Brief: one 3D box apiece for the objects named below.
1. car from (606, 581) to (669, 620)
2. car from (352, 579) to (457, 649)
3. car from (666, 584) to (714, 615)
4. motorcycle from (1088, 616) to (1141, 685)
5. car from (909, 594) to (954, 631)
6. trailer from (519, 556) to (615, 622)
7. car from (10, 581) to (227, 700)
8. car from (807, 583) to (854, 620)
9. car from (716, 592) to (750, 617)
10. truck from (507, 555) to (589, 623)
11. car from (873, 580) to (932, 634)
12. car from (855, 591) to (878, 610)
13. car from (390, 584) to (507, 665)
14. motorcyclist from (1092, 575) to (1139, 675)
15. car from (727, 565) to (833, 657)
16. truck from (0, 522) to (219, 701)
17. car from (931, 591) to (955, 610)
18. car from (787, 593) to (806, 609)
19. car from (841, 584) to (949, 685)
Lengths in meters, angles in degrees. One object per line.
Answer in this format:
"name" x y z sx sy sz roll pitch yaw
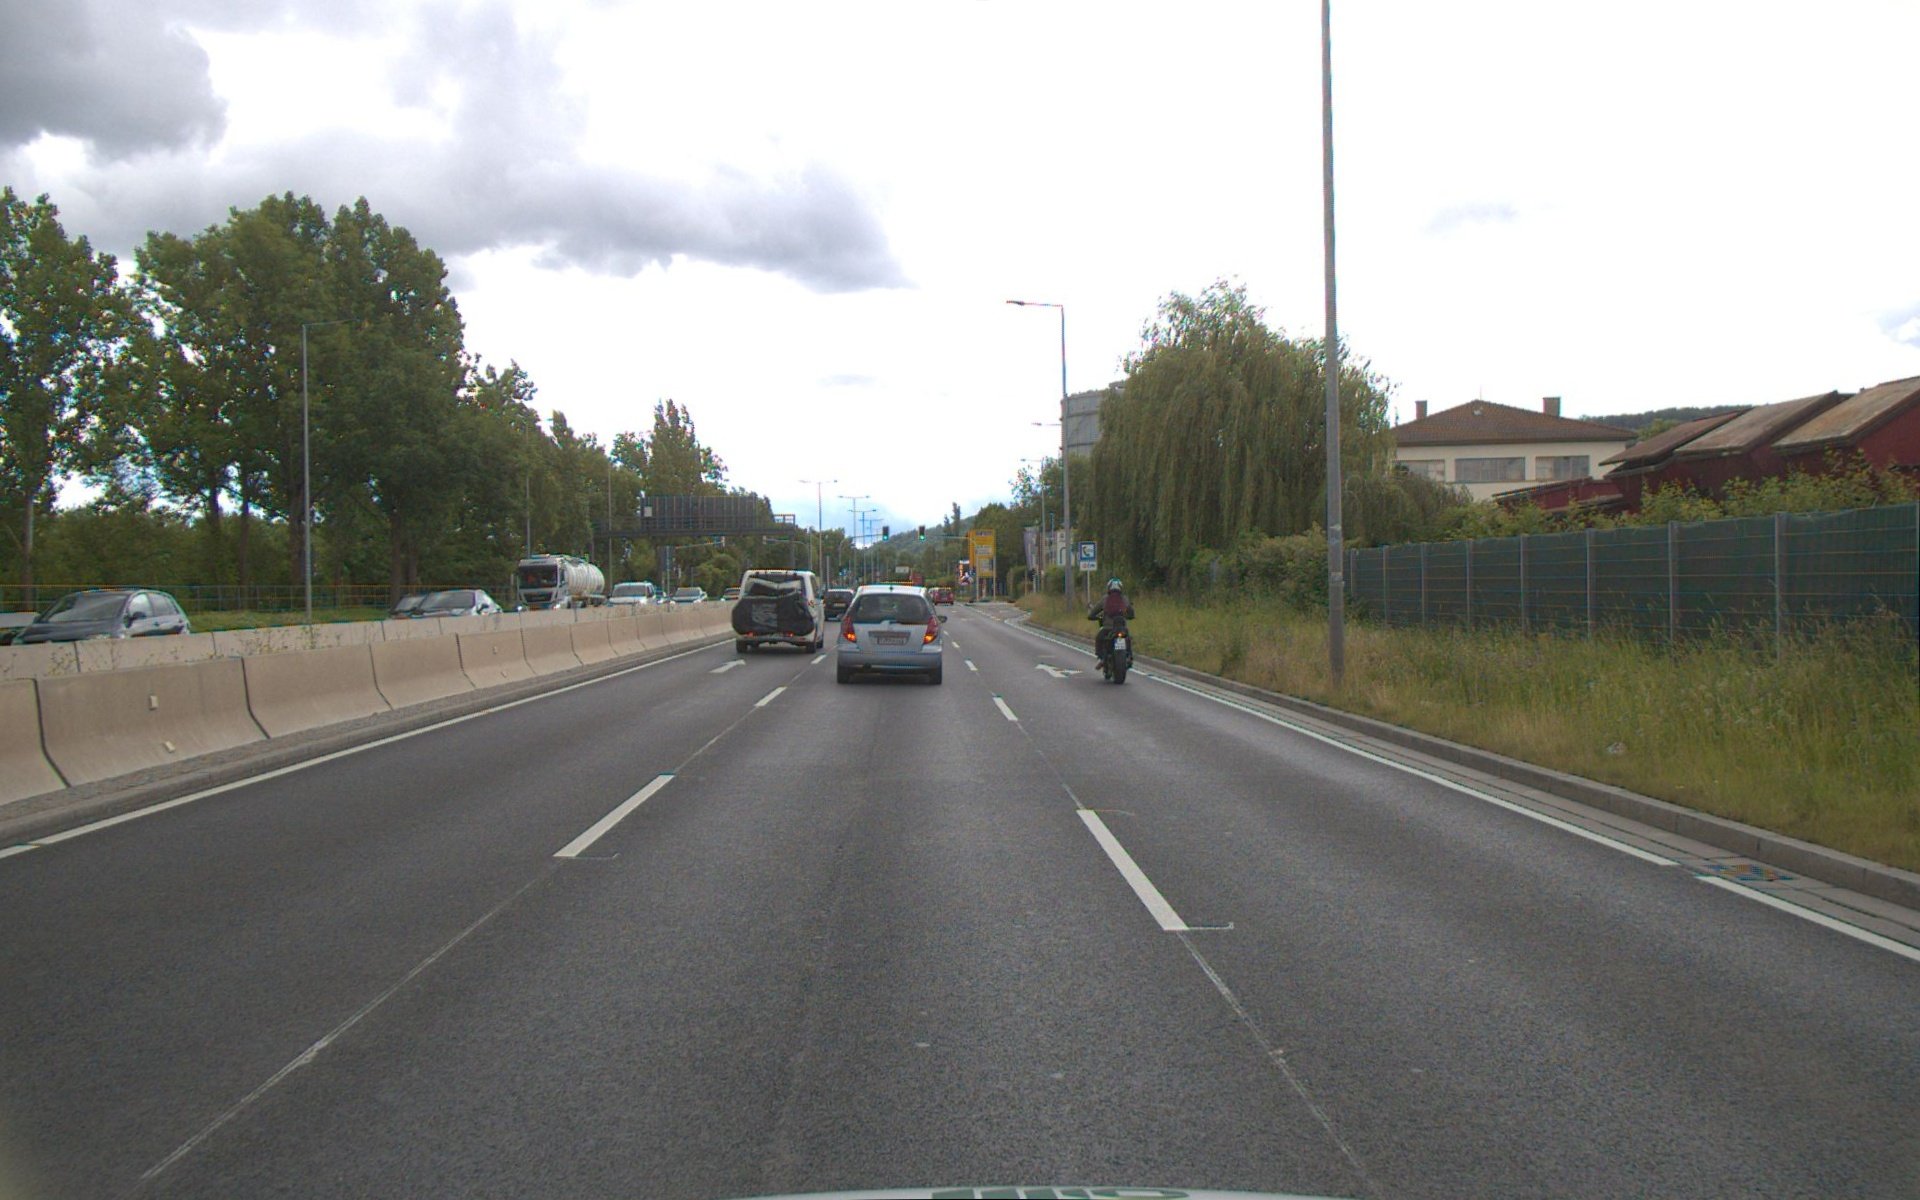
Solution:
"car" -14.466 -0.019 74.339 1.953 1.646 4.696 1 1 -1
"car" -17.151 0.397 51.291 1.953 2.049 3.999 1 0 -2
"car" -15.120 -0.038 92.895 1.953 1.646 4.696 1 1 -1
"motorcycle" 2.571 0.826 27.670 0.692 1.058 2.027 1 0 0
"car" -1.220 0.508 70.020 1.803 1.489 3.999 1 1 -2
"trailer" -21.176 -0.641 89.826 3.039 3.276 11.660 1 1 -4
"car" -14.801 0.648 29.358 1.780 1.909 4.100 1 0 -1
"car" -5.804 0.031 74.605 1.953 1.579 3.998 1 1 -2
"car" -16.561 0.301 120.591 1.953 1.769 3.999 1 0 -1
"truck" -20.816 -0.572 83.931 3.037 3.275 5.388 1 0 -4
"car" -1.922 0.213 56.113 1.869 1.713 3.999 1 0 -1
"car" -8.117 0.004 144.186 1.954 1.579 3.998 1 1 -3
"car" -13.033 0.568 42.377 1.780 1.937 3.999 1 0 -1
"motorcyclist" 2.597 0.407 27.615 0.671 1.638 0.845 1 0 0
"car" -4.148 0.222 38.777 2.171 1.959 4.999 1 1 -3
"truck" -18.448 0.155 30.648 2.797 3.161 15.879 1 1 -2
"car" -1.497 0.020 145.623 1.954 1.579 3.998 1 1 -3
"car" -19.422 0.104 196.449 1.840 1.712 4.124 1 0 -2
"car" -1.098 0.522 28.159 1.676 1.556 3.999 1 1 -2
